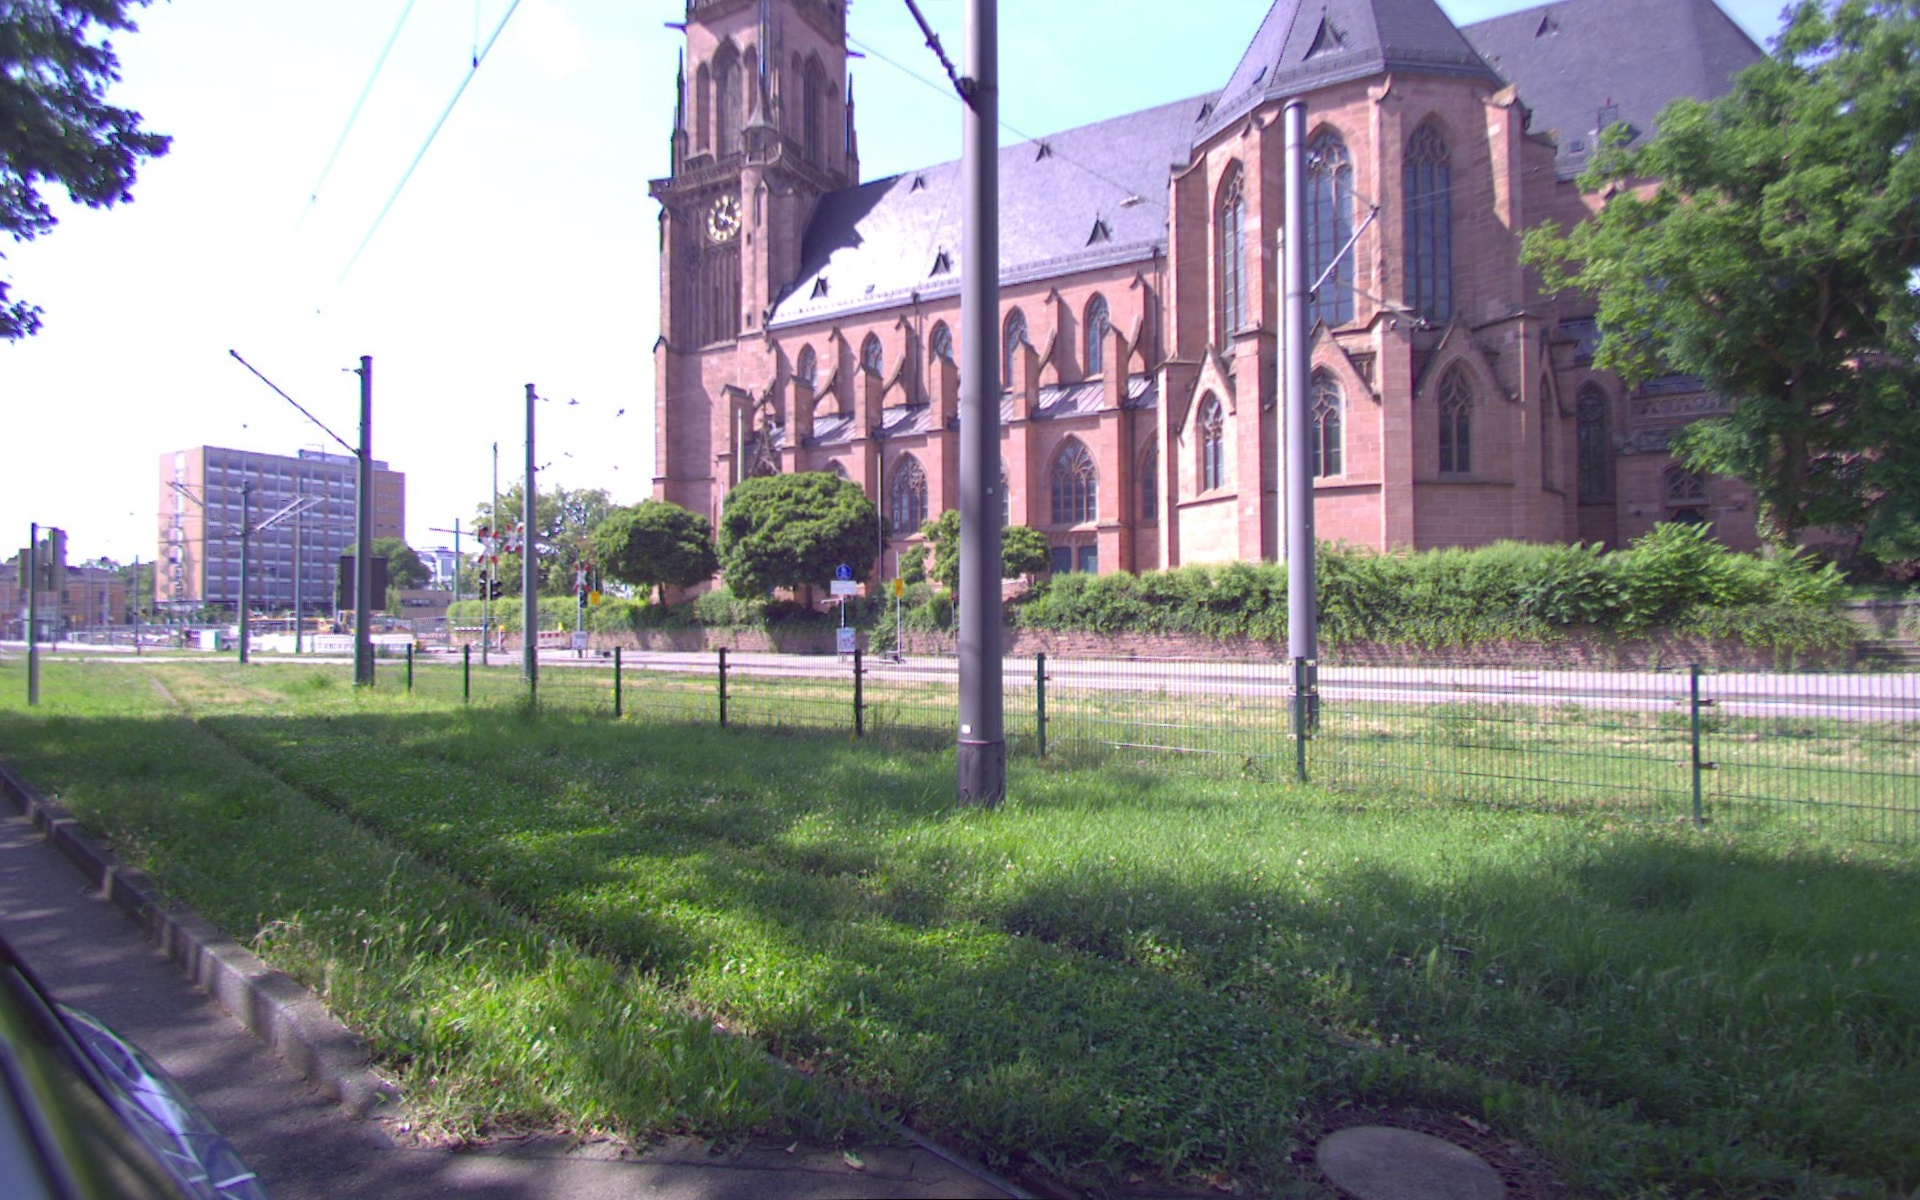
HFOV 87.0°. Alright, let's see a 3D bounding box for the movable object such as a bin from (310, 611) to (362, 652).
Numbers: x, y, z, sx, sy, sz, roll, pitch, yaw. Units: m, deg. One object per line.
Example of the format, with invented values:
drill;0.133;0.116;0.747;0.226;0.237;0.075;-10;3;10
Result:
movable object such as a bin;-61.532;3.125;99.788;2.904;3.911;3.327;-1;-2;7
